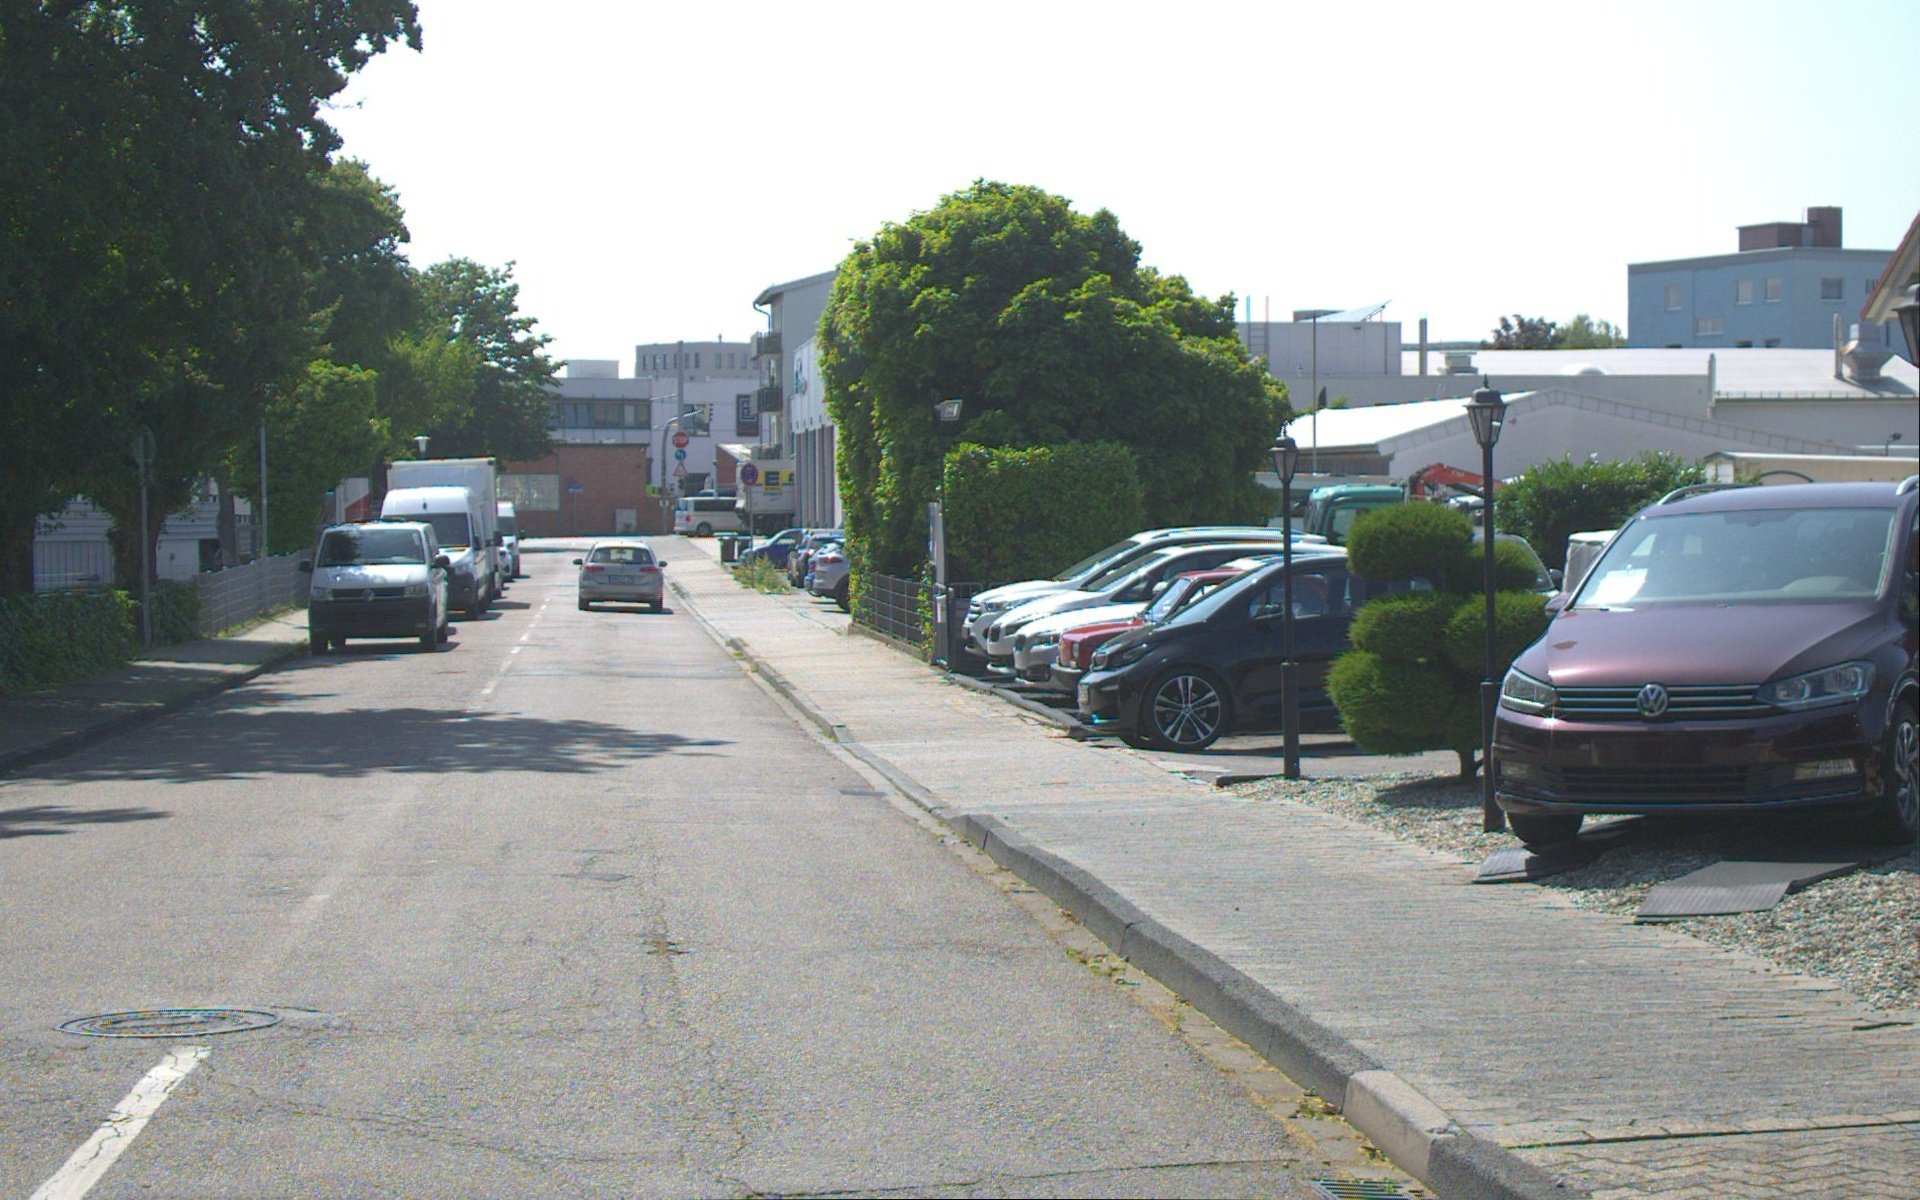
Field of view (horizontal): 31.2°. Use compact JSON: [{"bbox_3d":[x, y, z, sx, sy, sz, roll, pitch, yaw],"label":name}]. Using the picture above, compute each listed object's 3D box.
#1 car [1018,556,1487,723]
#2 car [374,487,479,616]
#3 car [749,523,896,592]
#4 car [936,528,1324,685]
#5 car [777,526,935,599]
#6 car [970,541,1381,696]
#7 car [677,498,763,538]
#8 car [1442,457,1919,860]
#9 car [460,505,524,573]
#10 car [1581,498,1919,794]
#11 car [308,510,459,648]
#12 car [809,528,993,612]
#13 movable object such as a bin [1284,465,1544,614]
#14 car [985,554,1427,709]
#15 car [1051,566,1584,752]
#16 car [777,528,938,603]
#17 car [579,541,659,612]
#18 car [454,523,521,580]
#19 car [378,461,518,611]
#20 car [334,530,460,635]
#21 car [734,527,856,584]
[{"bbox_3d":[2.681,0.339,31.977,4.044,1.484,1.799,0,1,-8],"label":"car"},{"bbox_3d":[-10.552,-0.962,68.192,1.831,2.495,4.001,0,1,-6],"label":"car"},{"bbox_3d":[-3.702,-1.144,91.986,3.828,1.757,1.783,1,1,-5],"label":"car"},{"bbox_3d":[1.916,0.050,39.394,4.157,1.744,1.892,0,1,-8],"label":"car"},{"bbox_3d":[-2.632,-0.950,86.108,3.828,1.757,1.856,1,1,-5],"label":"car"},{"bbox_3d":[2.276,0.174,36.881,4.111,1.597,1.870,0,1,-8],"label":"car"},{"bbox_3d":[-11.789,-4.038,168.856,3.986,1.902,1.815,0,2,-12],"label":"car"},{"bbox_3d":[3.970,0.220,16.406,1.807,1.650,4.308,-1,0,30],"label":"car"},{"bbox_3d":[-14.687,-1.908,108.057,1.831,2.111,4.001,0,1,-6],"label":"car"},{"bbox_3d":[6.615,0.274,22.242,4.880,1.836,2.161,0,1,18],"label":"car"},{"bbox_3d":[-8.849,-0.318,53.066,2.033,2.049,4.001,0,0,-6],"label":"car"},{"bbox_3d":[-1.293,-0.655,74.339,3.828,1.757,1.856,1,1,-5],"label":"car"},{"bbox_3d":[8.939,-1.201,67.923,4.817,2.897,2.000,0,1,-3],"label":"movable object such as a bin"},{"bbox_3d":[2.419,0.290,34.361,4.105,1.484,1.870,0,1,-8],"label":"car"},{"bbox_3d":[2.953,0.461,28.875,4.118,1.484,1.870,0,1,-8],"label":"car"},{"bbox_3d":[-2.519,-0.857,83.889,3.828,1.757,1.856,1,1,-5],"label":"car"},{"bbox_3d":[-7.415,-0.526,75.056,1.677,1.488,4.607,0,1,-5],"label":"car"},{"bbox_3d":[-14.021,-1.440,102.218,1.831,1.680,4.001,0,1,-6],"label":"car"},{"bbox_3d":[-11.766,-1.464,79.510,2.806,3.305,7.784,0,1,-6],"label":"car"},{"bbox_3d":[-9.393,-0.314,57.596,1.831,1.686,4.001,0,1,-6],"label":"car"},{"bbox_3d":[-5.335,-1.446,110.852,3.859,1.757,1.824,1,1,-5],"label":"car"}]
